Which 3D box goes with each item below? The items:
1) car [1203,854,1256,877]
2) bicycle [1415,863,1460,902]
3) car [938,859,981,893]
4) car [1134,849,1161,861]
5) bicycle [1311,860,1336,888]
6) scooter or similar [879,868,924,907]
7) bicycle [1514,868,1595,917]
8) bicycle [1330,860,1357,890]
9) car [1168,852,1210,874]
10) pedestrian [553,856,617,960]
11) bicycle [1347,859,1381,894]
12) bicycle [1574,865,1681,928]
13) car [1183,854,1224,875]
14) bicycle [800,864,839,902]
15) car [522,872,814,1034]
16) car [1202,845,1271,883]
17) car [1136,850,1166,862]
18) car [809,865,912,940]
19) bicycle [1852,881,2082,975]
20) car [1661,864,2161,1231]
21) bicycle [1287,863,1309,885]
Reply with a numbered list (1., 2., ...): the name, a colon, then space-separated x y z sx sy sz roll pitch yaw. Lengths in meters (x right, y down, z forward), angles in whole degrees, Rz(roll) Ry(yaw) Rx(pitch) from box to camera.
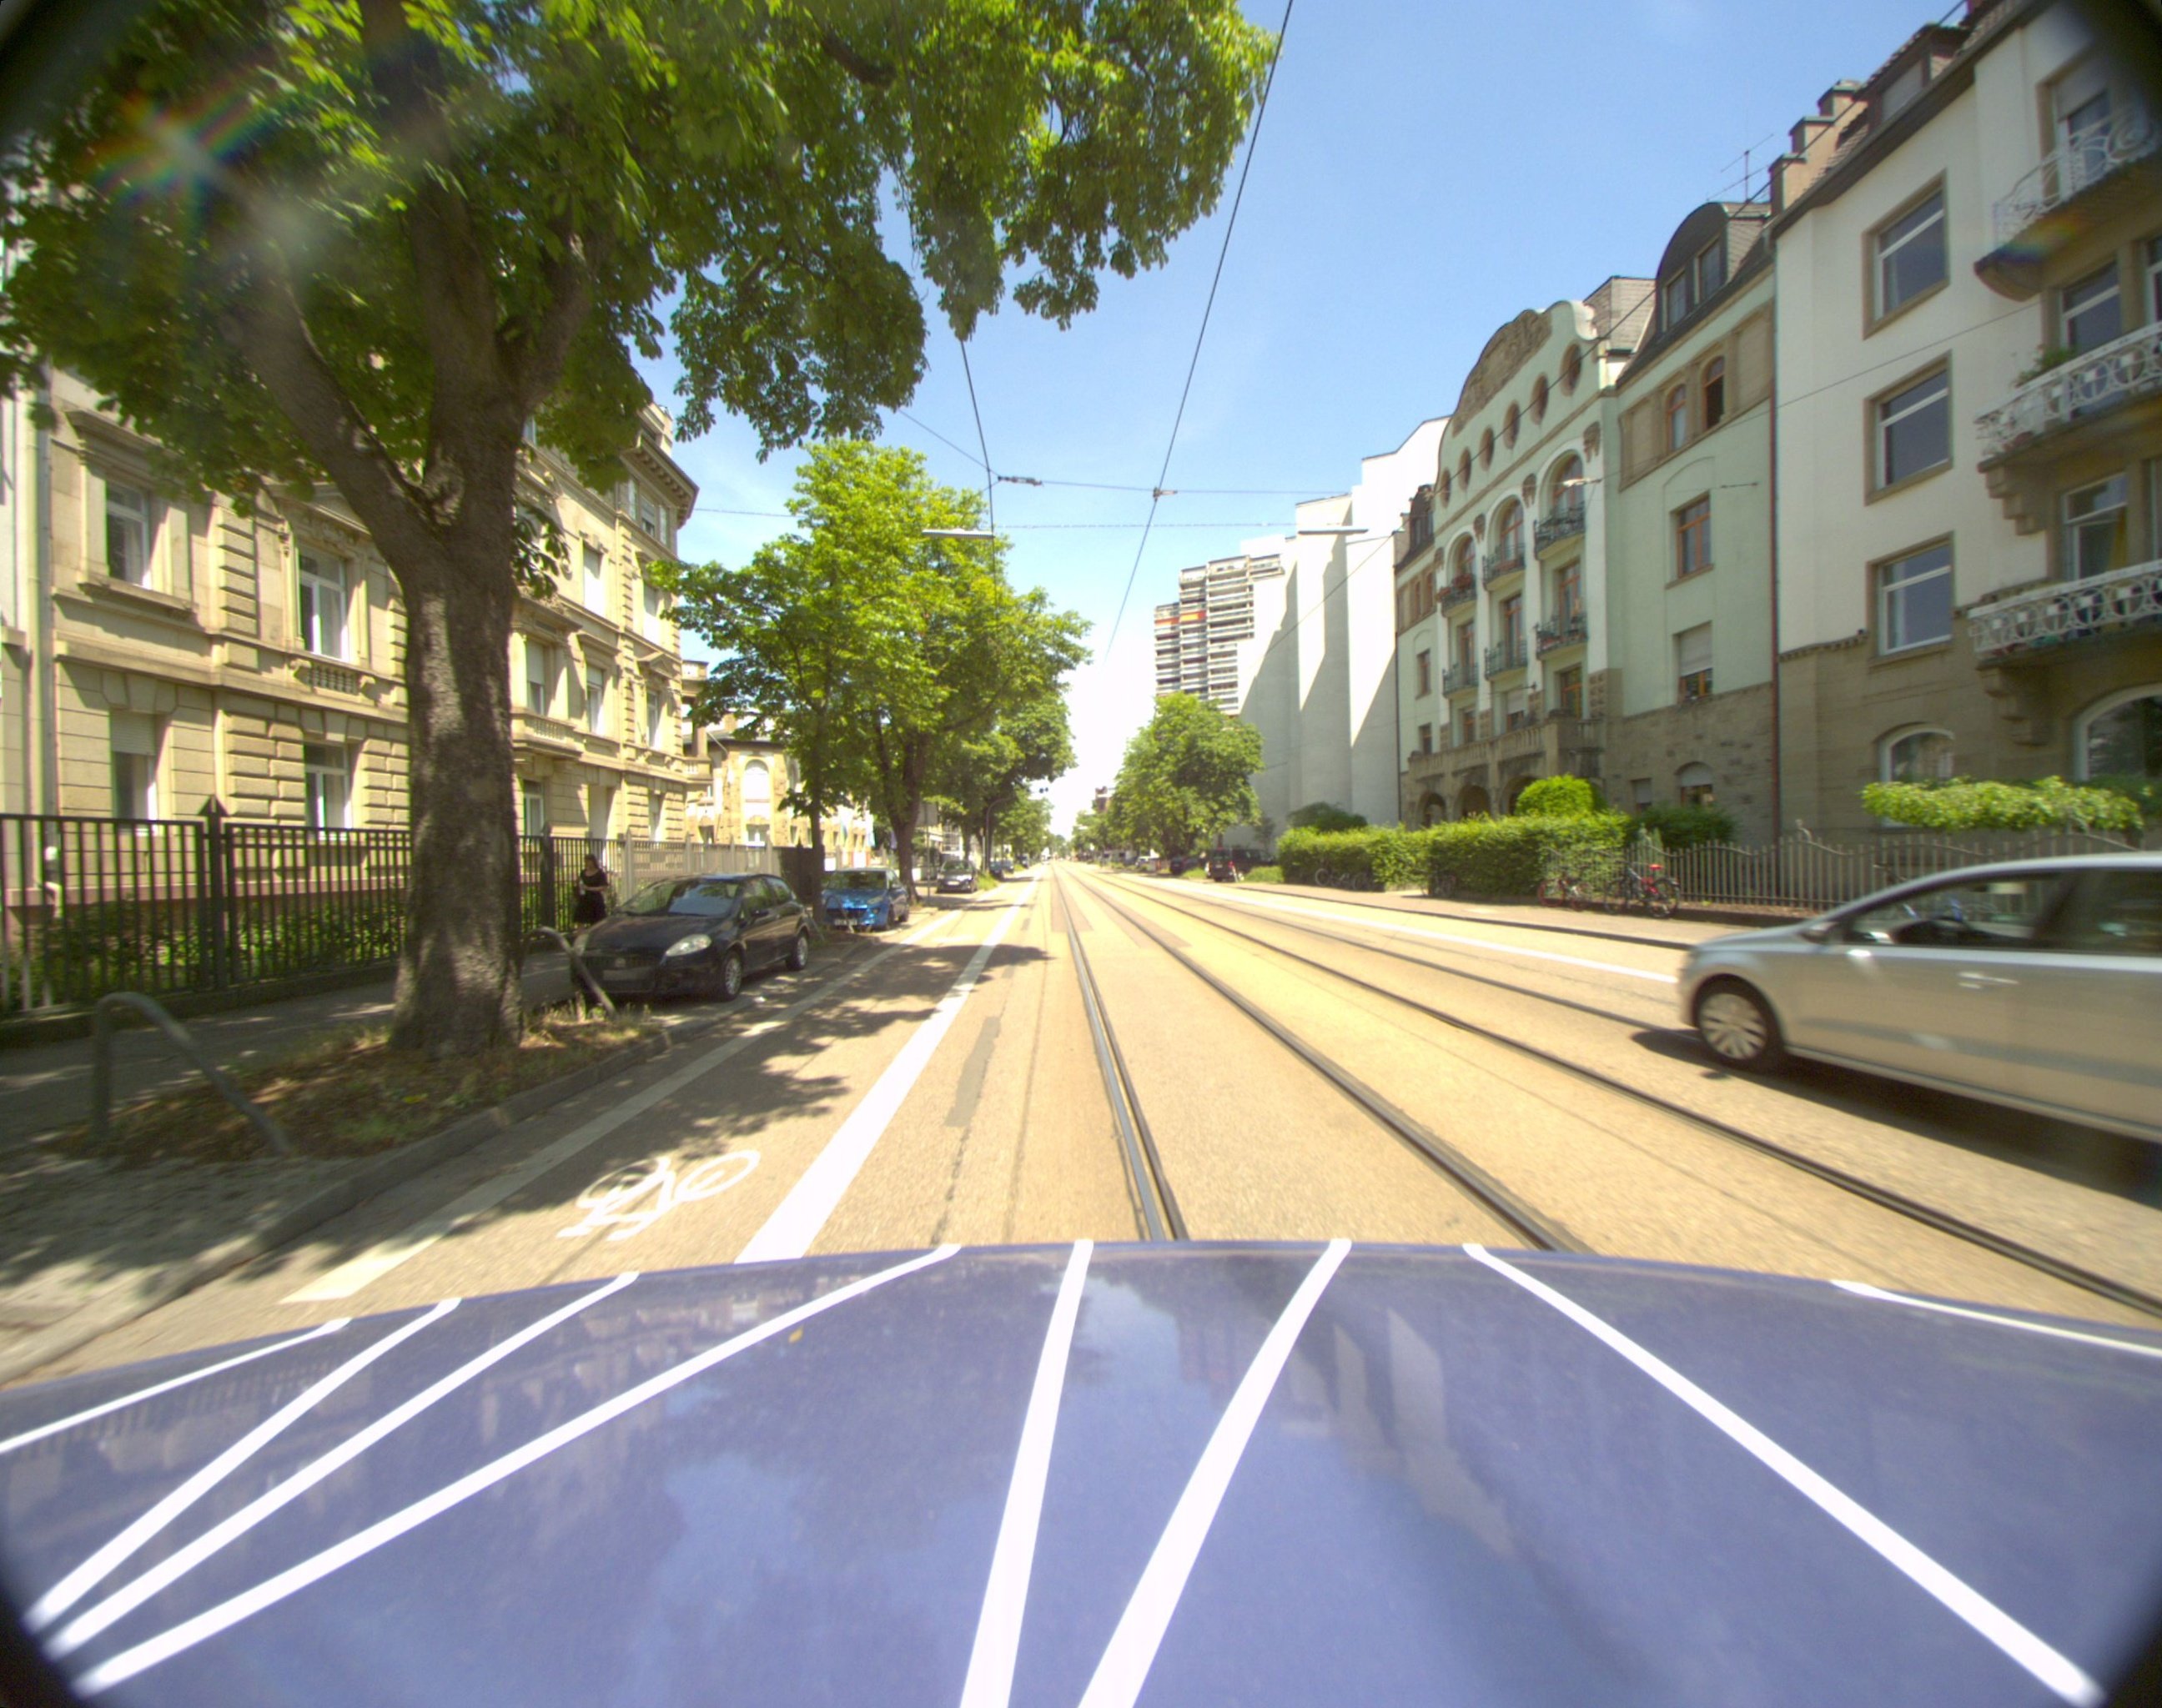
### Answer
1. car: 9.940 0.752 50.590 1.735 1.418 3.897 -1 1 40
2. bicycle: 10.426 0.817 22.267 0.290 1.040 1.899 -3 1 -3
3. car: -5.885 1.030 37.100 1.648 1.587 4.114 0 0 -3
4. car: 7.964 0.159 90.647 1.361 1.293 3.316 -1 1 43
5. bicycle: 9.933 0.791 31.160 0.340 1.062 1.727 -3 1 -3
6. scooter or similar: -5.977 1.112 25.293 1.379 1.225 0.375 -3 2 -16
7. bicycle: 10.472 0.830 16.893 0.400 0.965 2.046 -3 0 -3
8. bicycle: 10.035 0.775 29.072 0.340 1.062 1.727 -3 1 -3
9. car: 8.600 0.698 60.330 1.636 1.540 3.815 -1 1 36
10. pedestrian: -8.351 0.883 12.824 0.547 1.683 0.755 -1 1 -3
11. bicycle: 10.108 0.767 27.185 0.340 1.157 1.932 -3 1 -3
12. bicycle: 10.569 0.781 14.786 0.493 1.090 2.046 -3 0 -3
13. car: 9.281 0.784 57.524 1.488 1.391 3.287 -1 2 41
14. bicycle: -9.298 1.022 27.126 0.689 1.217 2.118 -3 1 -3
15. car: -4.892 1.058 9.710 1.682 1.488 3.917 0 1 -2
16. car: 8.960 0.554 43.635 3.915 1.958 1.908 -3 2 -42
17. car: 8.016 0.262 86.959 1.492 1.259 3.490 -1 1 43
18. car: -5.170 1.070 18.257 1.615 1.488 3.581 0 1 -3
19. bicycle: 10.738 0.845 9.332 0.463 0.943 1.954 -3 0 -3
20. car: 5.170 0.807 3.619 1.713 1.404 3.823 0 1 -4
21. bicycle: 9.839 0.888 34.504 0.340 0.935 1.727 -4 1 -3
